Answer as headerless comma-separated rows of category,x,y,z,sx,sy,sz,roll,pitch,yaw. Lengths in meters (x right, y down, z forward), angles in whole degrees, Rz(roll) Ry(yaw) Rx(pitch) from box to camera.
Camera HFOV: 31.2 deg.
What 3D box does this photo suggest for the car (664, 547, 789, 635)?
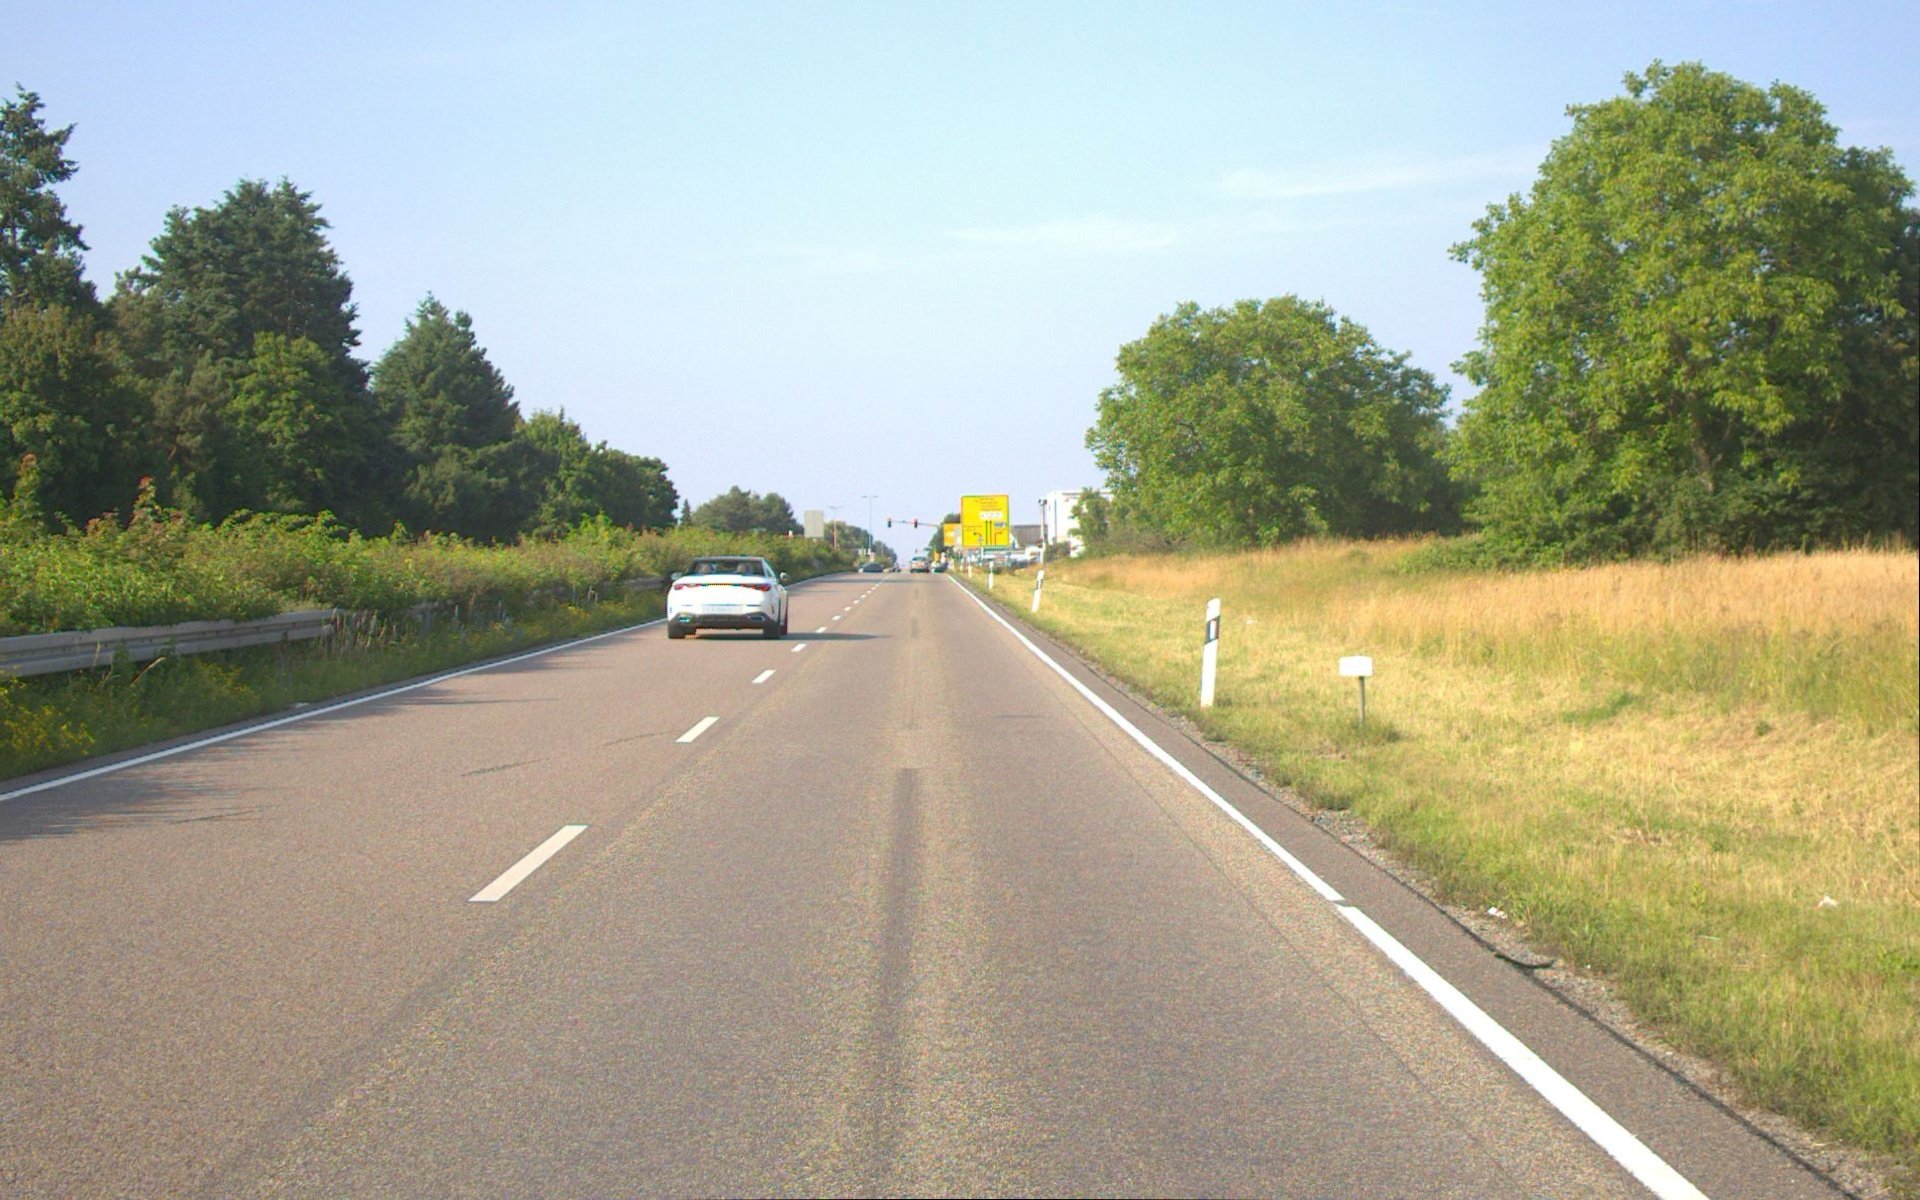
car,-3.896,-0.171,57.901,1.909,1.417,4.000,0,1,-1
